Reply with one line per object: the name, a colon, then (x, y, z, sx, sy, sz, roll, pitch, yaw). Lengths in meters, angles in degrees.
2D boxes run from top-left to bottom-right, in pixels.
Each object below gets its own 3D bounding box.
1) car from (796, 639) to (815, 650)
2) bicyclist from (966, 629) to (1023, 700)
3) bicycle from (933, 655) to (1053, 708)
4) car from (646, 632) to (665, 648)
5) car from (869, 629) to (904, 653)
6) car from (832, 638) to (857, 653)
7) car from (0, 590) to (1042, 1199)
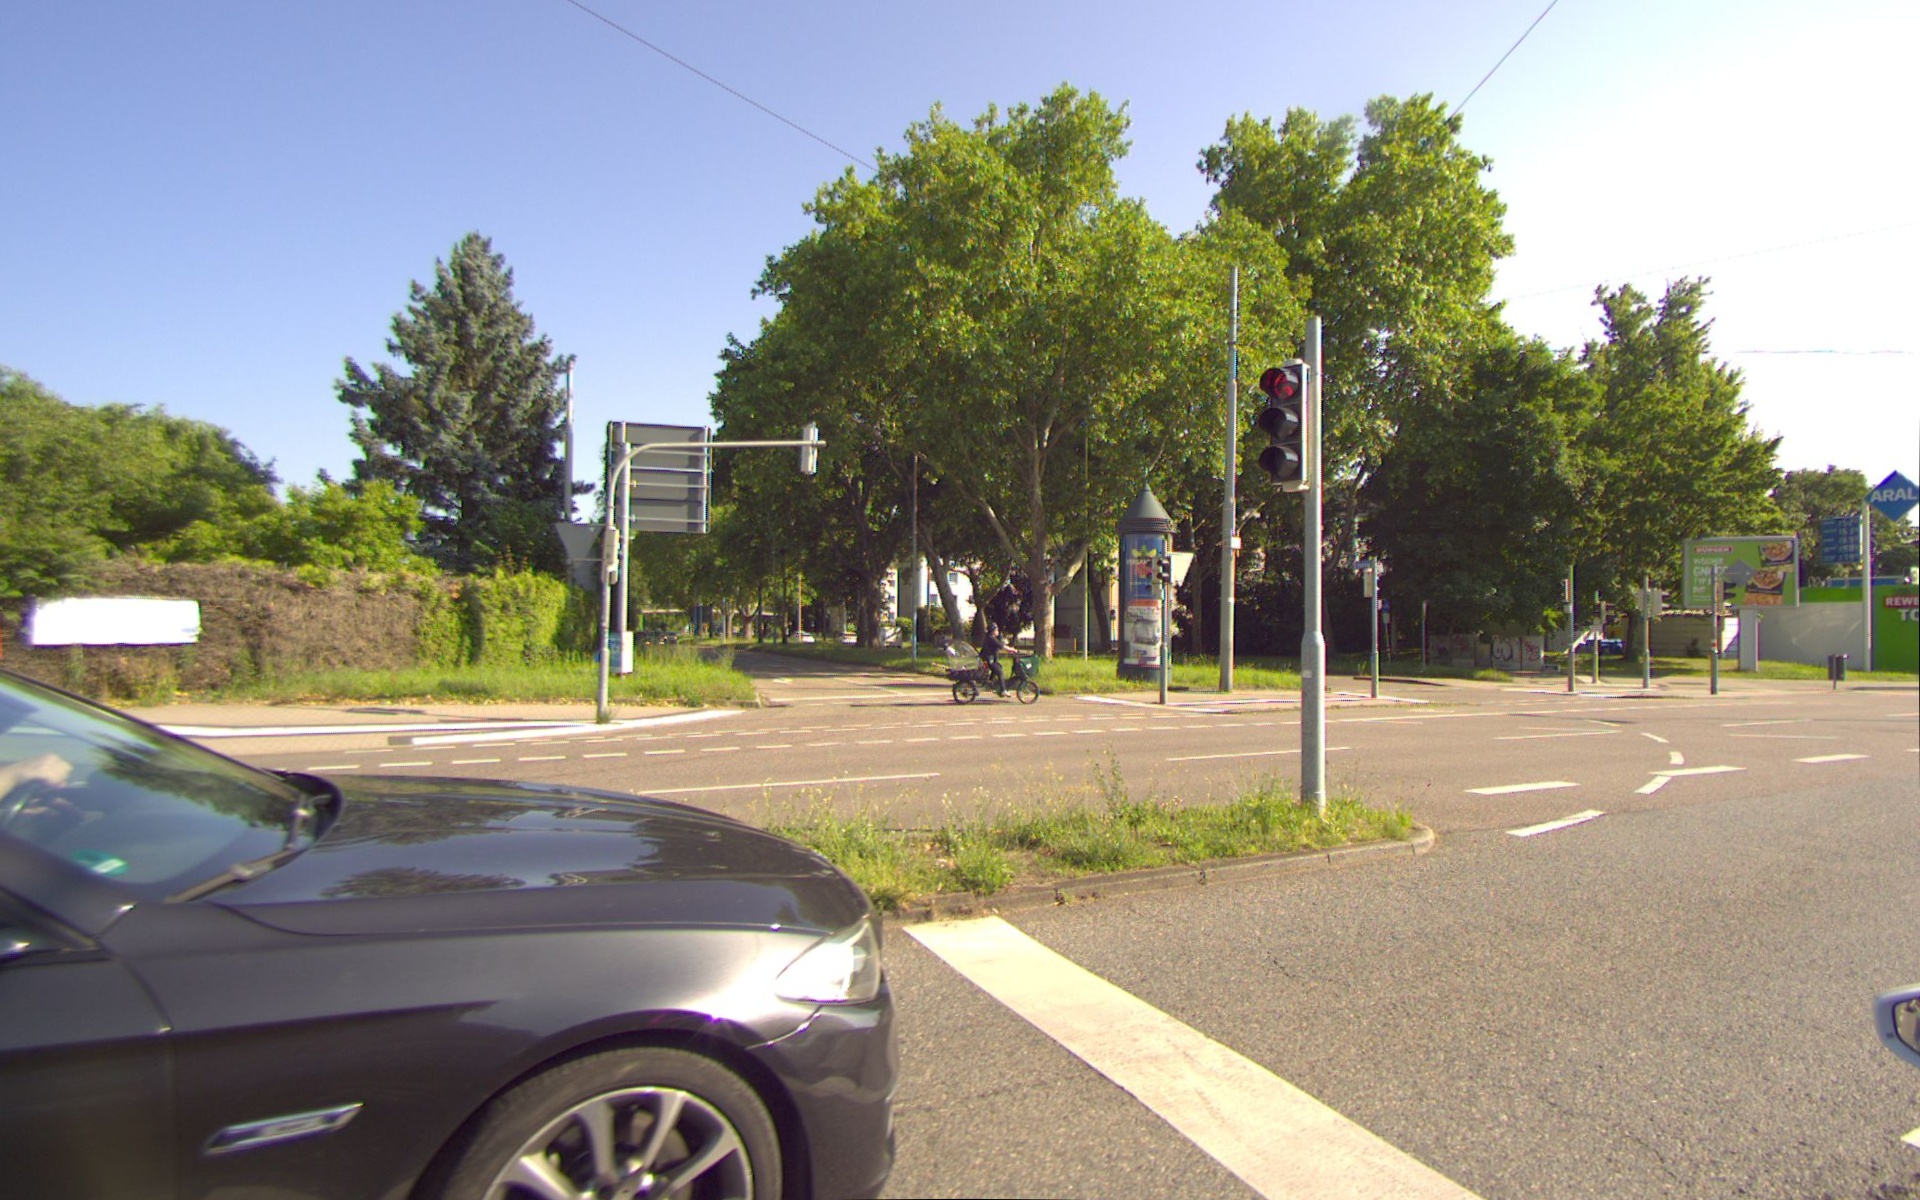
car: (-19.521, 5.627, 126.890, 1.796, 1.425, 3.523, 1, -2, -20)
bicyclist: (0.731, 1.359, 21.448, 1.036, 1.471, 0.660, 1, -2, -24)
bicycle: (0.715, 1.724, 21.426, 2.544, 1.063, 0.660, 1, -2, -24)
car: (-29.048, 3.770, 95.693, 1.485, 1.325, 3.408, 2, 0, -20)
car: (-6.300, 3.512, 85.945, 1.796, 1.989, 4.382, 1, -2, -20)
car: (-11.913, 4.674, 103.695, 1.796, 1.425, 3.523, 1, -2, -20)
car: (-2.225, 0.729, 1.841, 4.592, 1.505, 1.751, 1, 0, -31)
